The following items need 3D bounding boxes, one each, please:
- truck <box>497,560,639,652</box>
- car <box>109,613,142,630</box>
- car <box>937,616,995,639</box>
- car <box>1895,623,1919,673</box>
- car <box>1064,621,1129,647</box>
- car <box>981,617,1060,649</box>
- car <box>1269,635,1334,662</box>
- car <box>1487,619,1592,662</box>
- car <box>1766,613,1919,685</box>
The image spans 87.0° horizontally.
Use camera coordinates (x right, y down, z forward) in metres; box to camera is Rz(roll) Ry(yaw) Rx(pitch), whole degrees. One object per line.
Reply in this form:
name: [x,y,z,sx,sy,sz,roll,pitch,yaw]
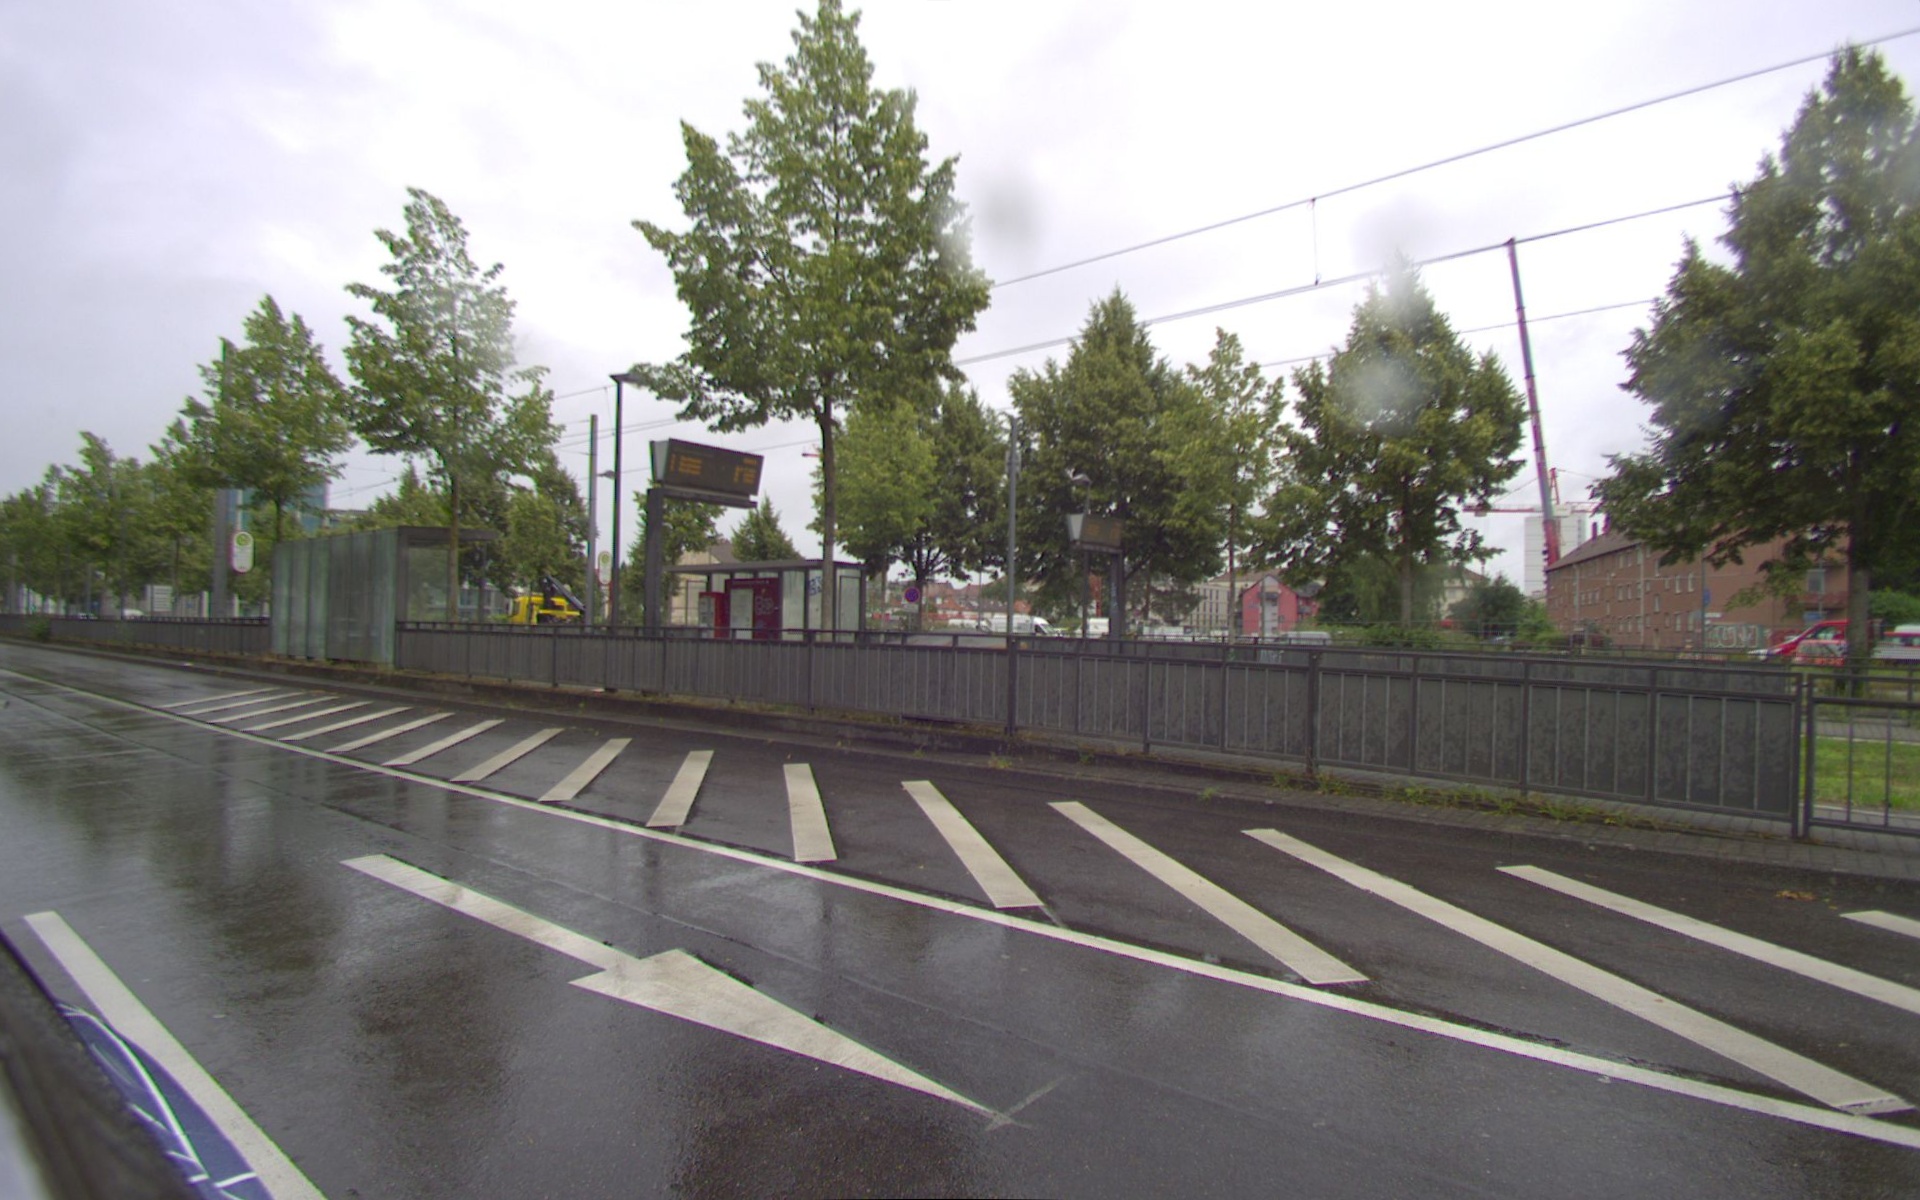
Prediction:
truck: [-18.107,0.223,46.293,2.656,3.806,9.189,-1,0,-44]
car: [-89.598,2.289,108.651,3.995,1.759,1.974,0,0,38]
car: [0.606,2.957,108.321,6.123,2.323,1.978,0,0,32]
car: [45.914,2.148,45.008,1.597,2.296,6.114,2,-2,-37]
car: [11.945,2.962,88.719,5.412,2.067,1.976,0,0,37]
car: [5.110,2.766,85.933,6.735,2.480,1.975,0,0,37]
car: [26.270,3.701,77.899,4.415,1.891,1.855,0,0,34]
car: [35.762,2.442,62.567,5.482,2.471,1.976,0,0,36]
car: [33.499,1.748,36.651,1.597,2.489,6.500,2,-2,-39]
